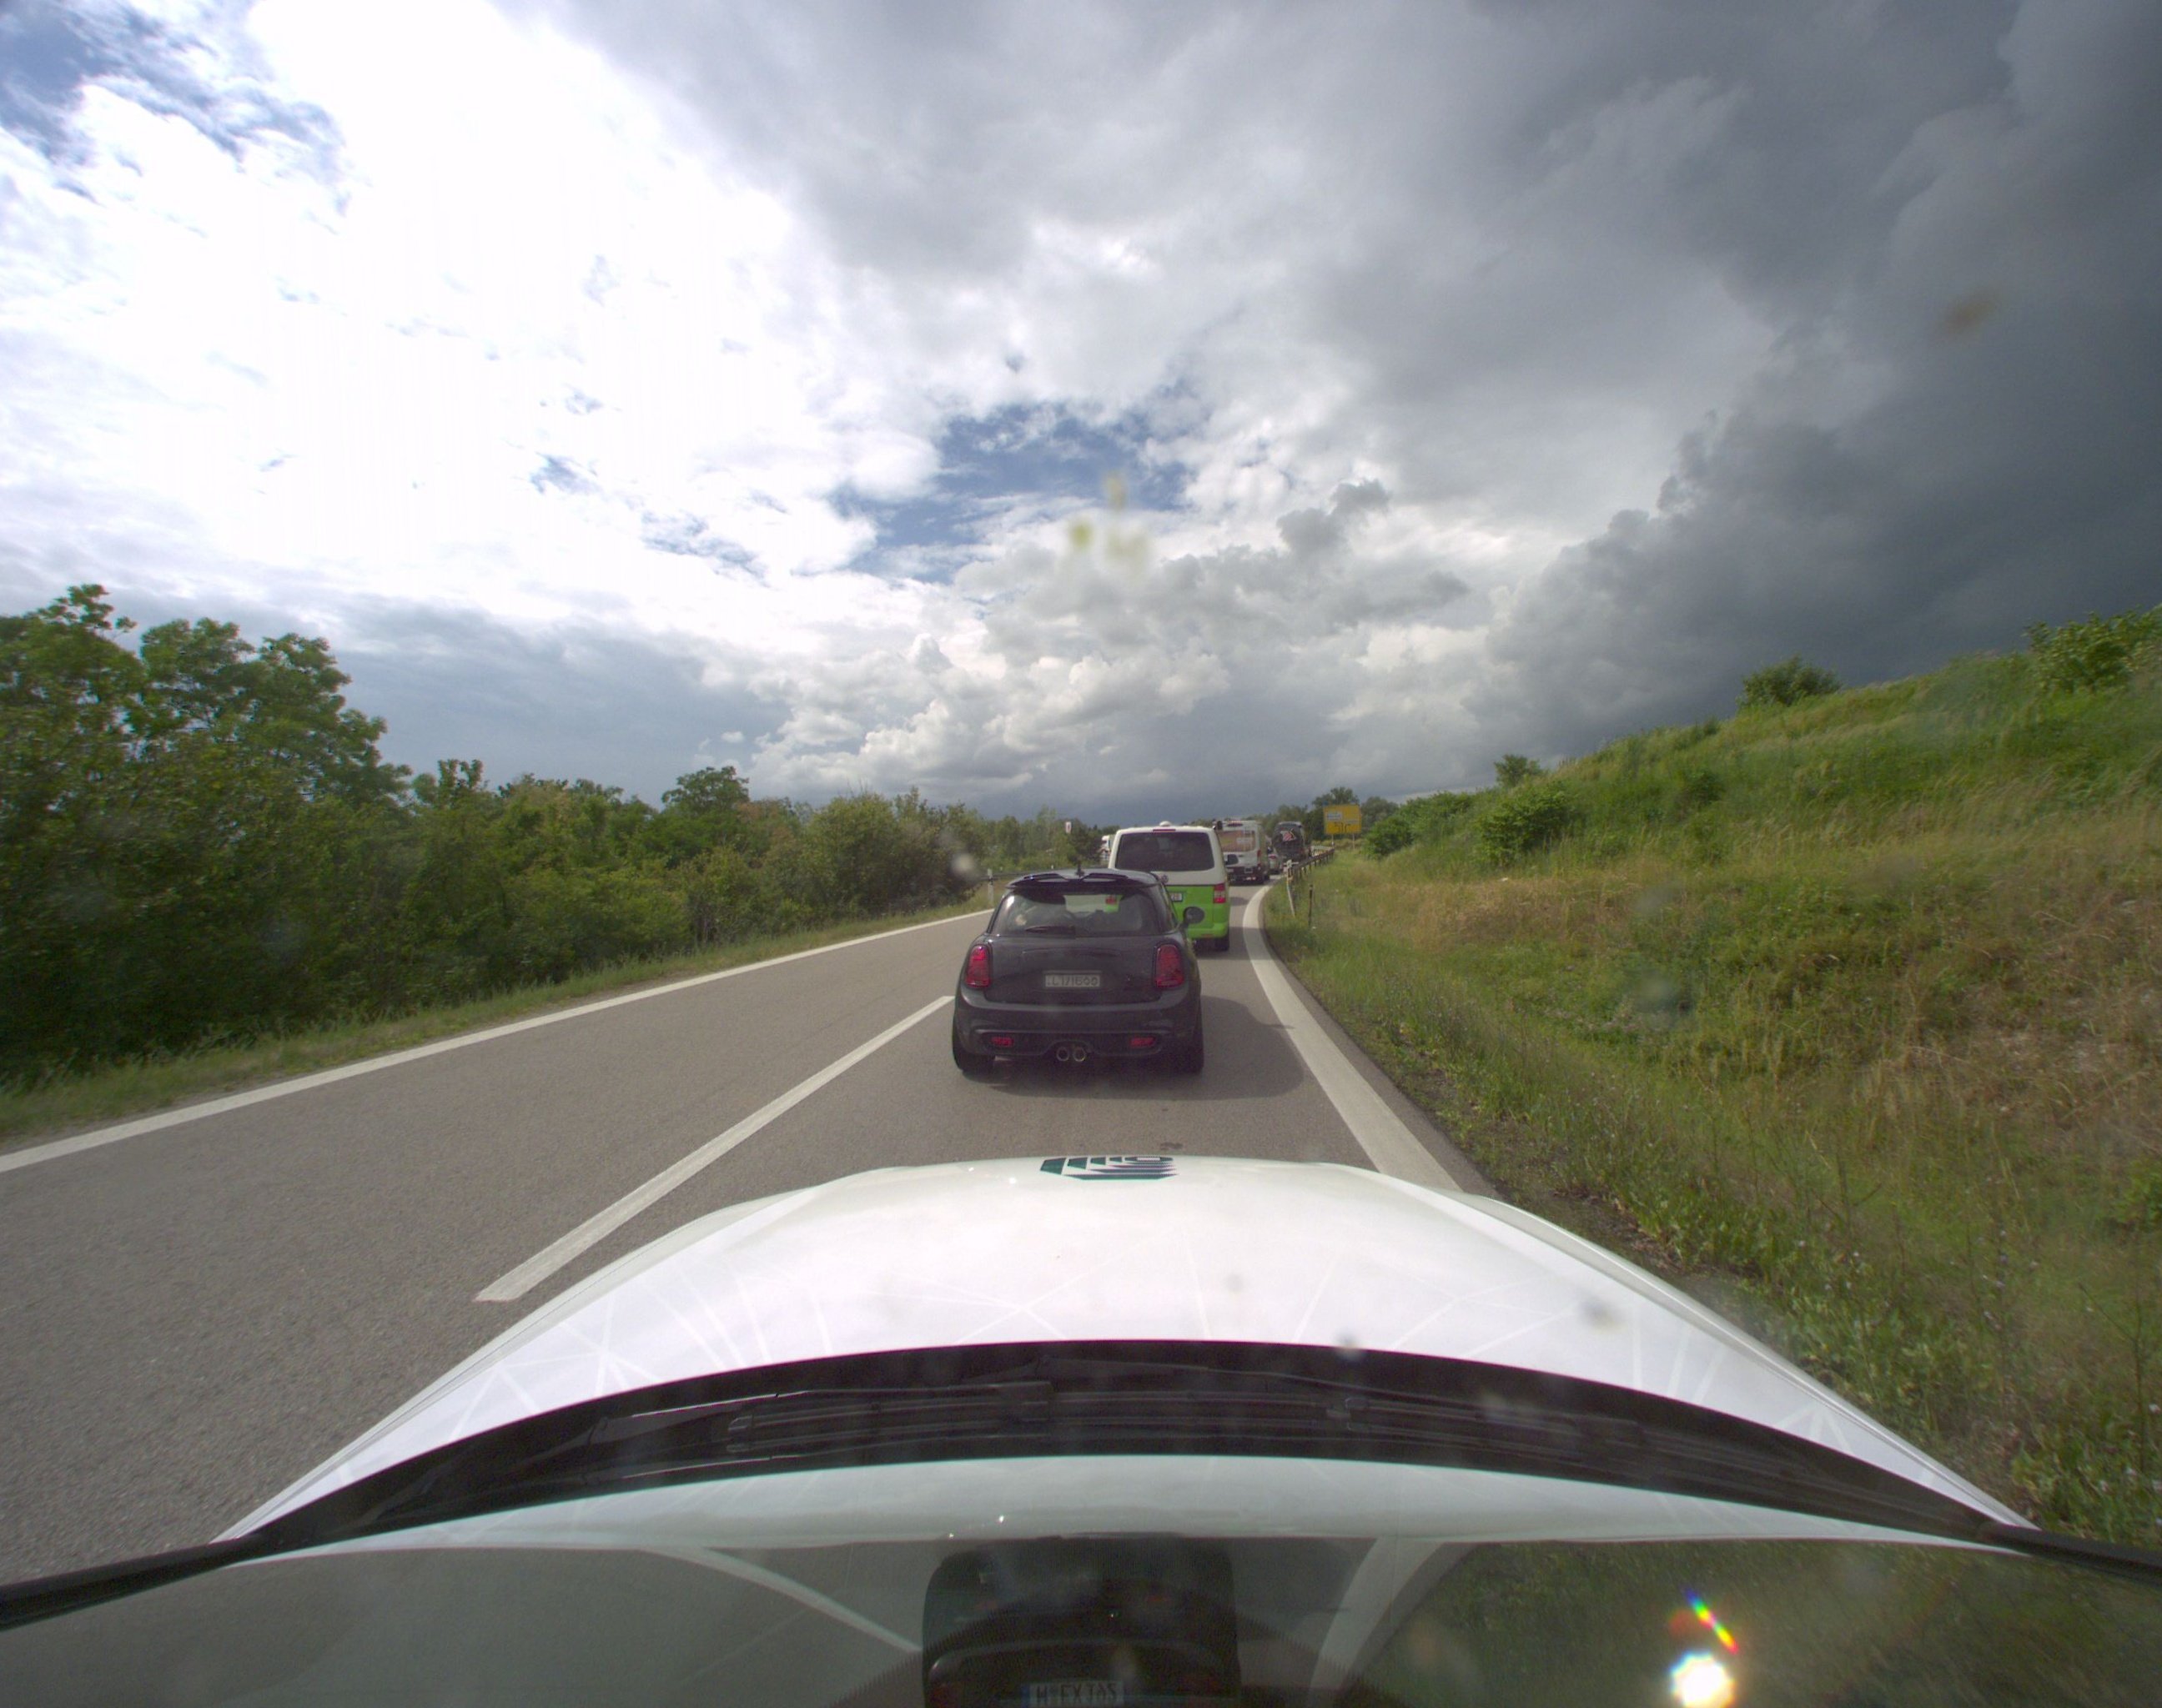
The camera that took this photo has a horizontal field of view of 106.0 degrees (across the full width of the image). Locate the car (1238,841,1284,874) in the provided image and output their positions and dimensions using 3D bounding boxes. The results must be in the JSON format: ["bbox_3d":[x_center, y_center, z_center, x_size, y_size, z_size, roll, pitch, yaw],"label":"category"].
[{"bbox_3d":[9.515,0.175,42.853,1.978,1.642,3.946,-1,-1,17],"label":"car"}]

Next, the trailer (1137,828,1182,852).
[{"bbox_3d":[13.448,-2.385,140.052,3.057,3.898,8.682,0,-1,-33],"label":"trailer"}]

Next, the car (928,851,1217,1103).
[{"bbox_3d":[0.128,0.770,6.959,1.790,1.546,3.745,-1,0,6],"label":"car"}]

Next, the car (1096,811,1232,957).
[{"bbox_3d":[1.550,0.438,13.666,1.899,2.045,4.193,-1,0,10],"label":"car"}]

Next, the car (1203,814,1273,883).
[{"bbox_3d":[6.673,-0.183,34.101,2.194,2.622,5.559,-1,-1,18],"label":"car"}]

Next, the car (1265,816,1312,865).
[{"bbox_3d":[13.988,-0.832,54.680,2.291,3.069,6.696,-1,-1,21],"label":"car"}]

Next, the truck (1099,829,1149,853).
[{"bbox_3d":[7.687,-2.304,147.330,2.861,3.976,9.909,0,-1,-42],"label":"truck"}]

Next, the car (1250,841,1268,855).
[{"bbox_3d":[25.496,-0.884,116.646,2.084,1.883,4.504,0,-1,7],"label":"car"}]
